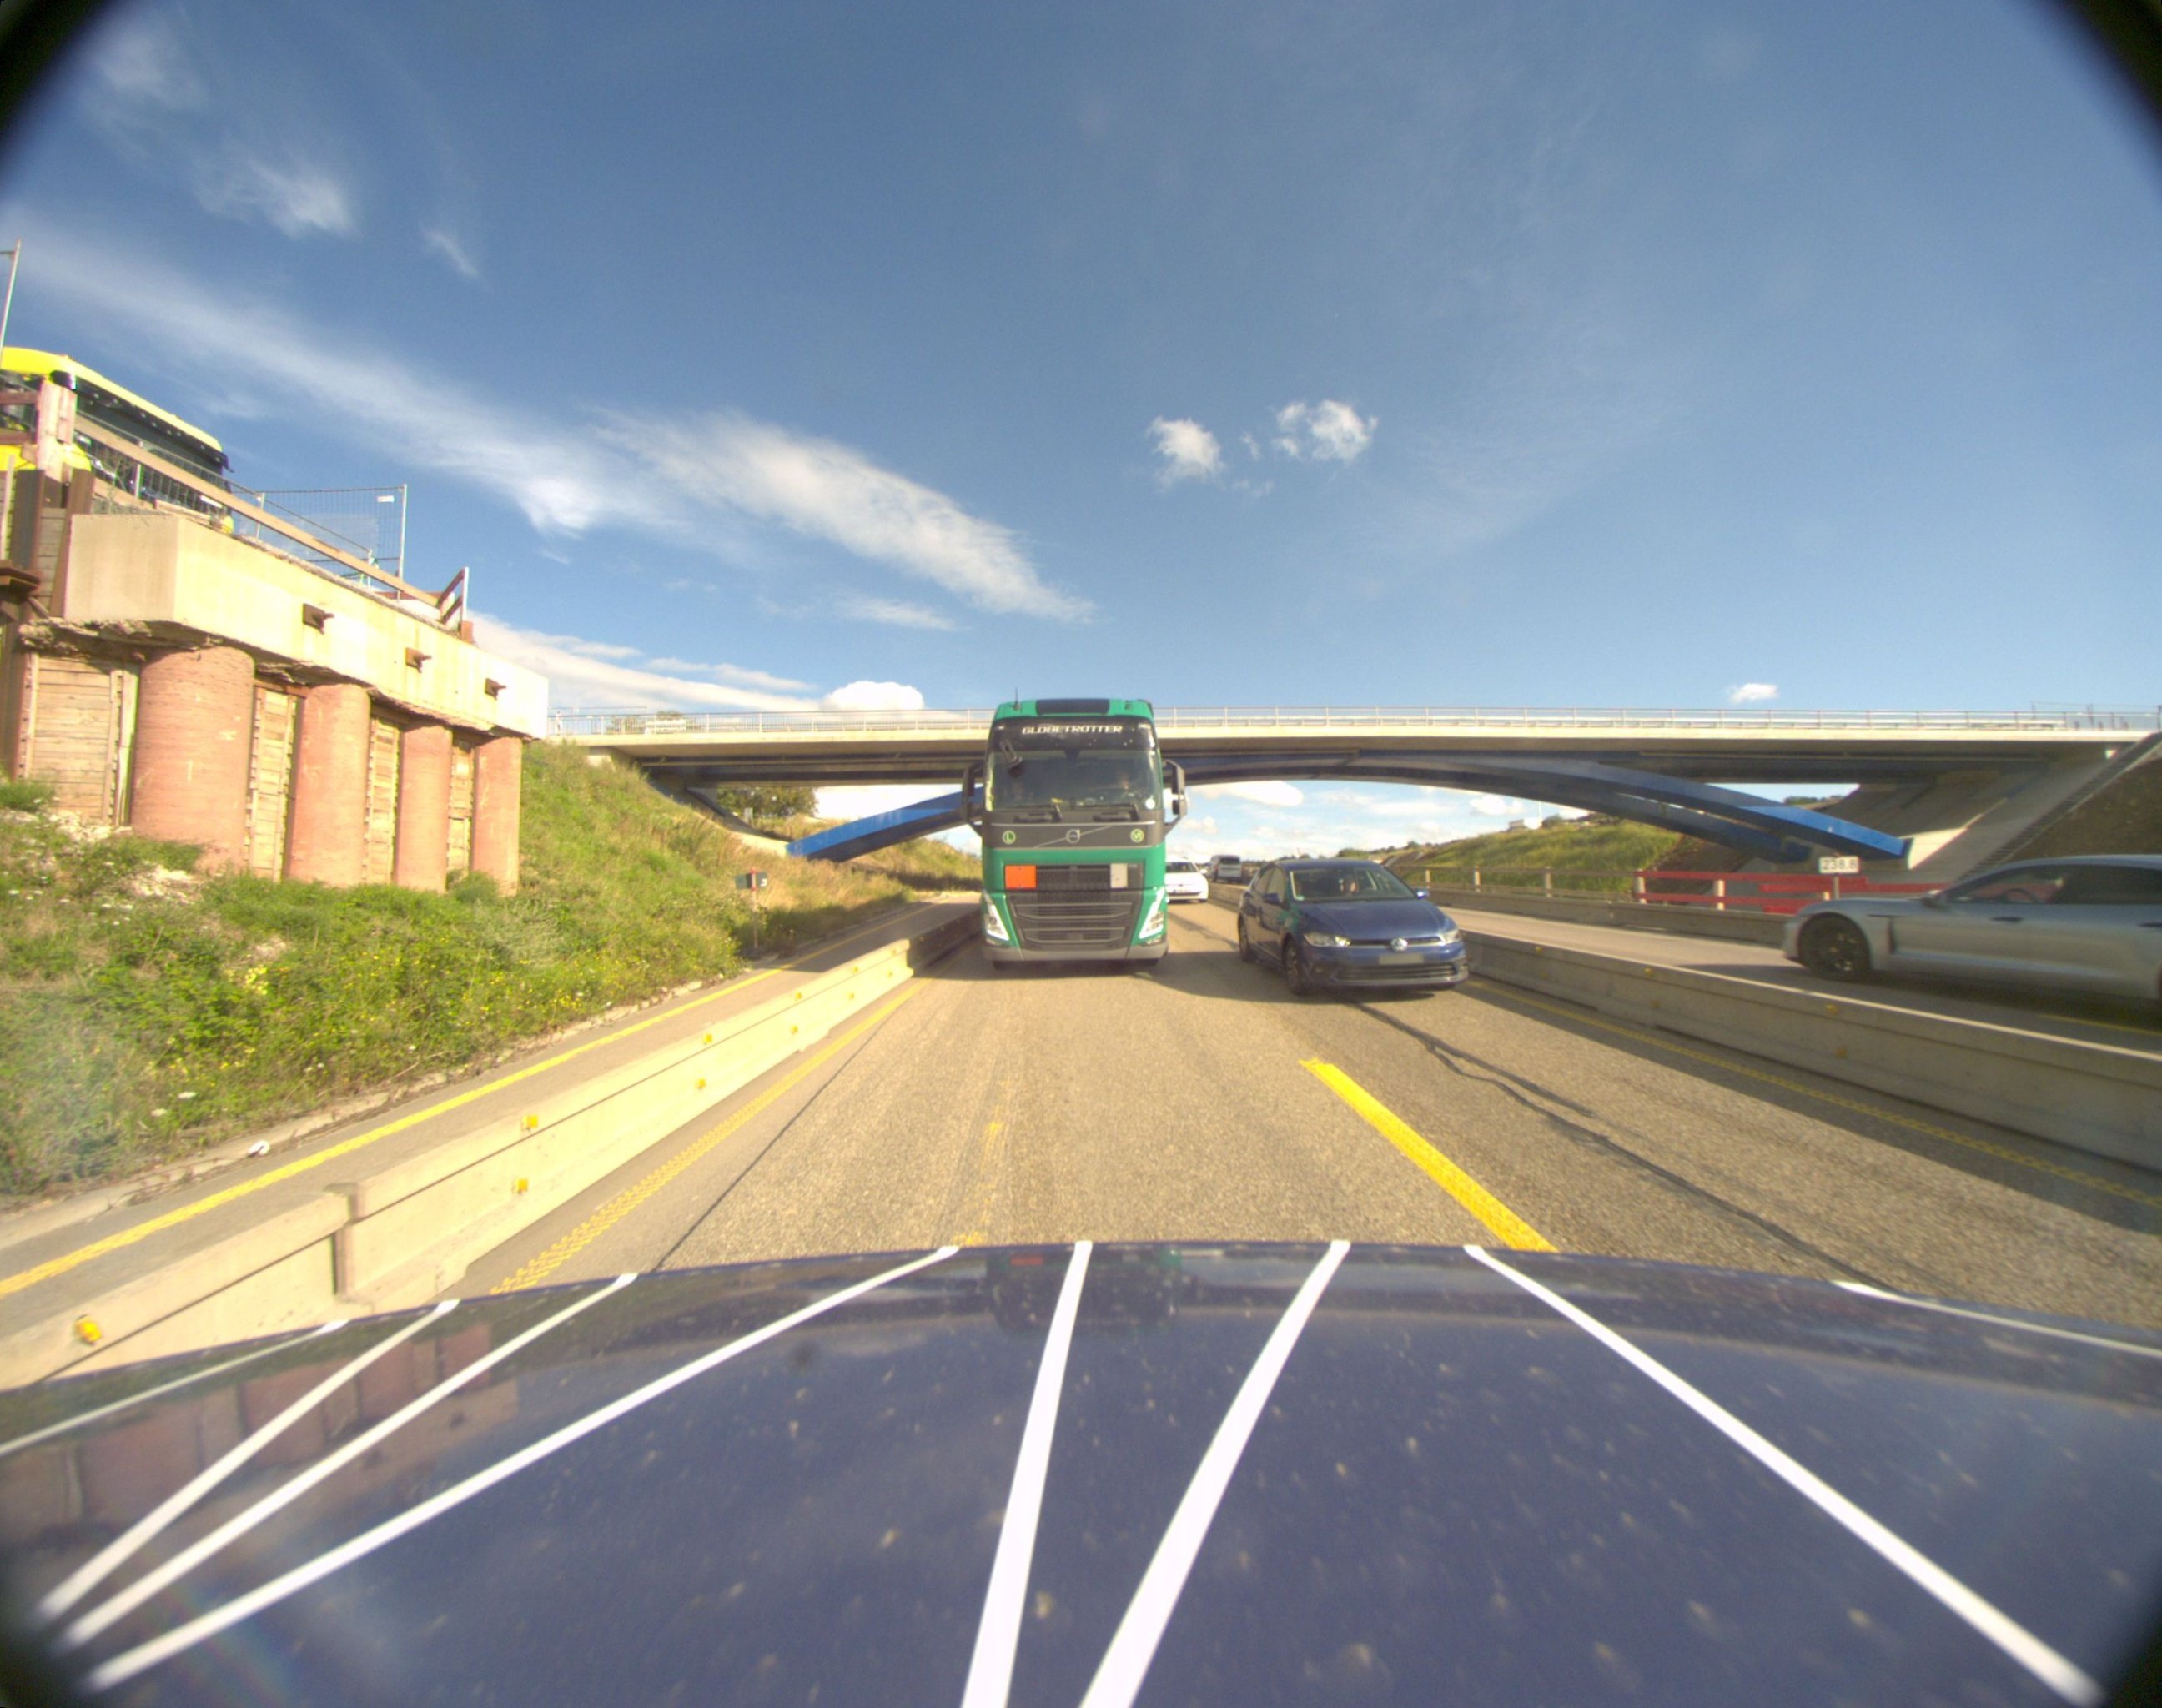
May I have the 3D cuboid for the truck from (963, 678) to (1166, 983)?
[{"bbox_3d":[-0.182,-0.305,13.974,2.546,3.899,8.279,-1,0,0],"label":"truck"}]

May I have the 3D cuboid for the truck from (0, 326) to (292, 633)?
[{"bbox_3d":[-18.410,-5.433,11.633,9.288,3.209,2.959,-1,0,-2],"label":"truck"}]

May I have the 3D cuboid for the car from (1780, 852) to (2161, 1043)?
[{"bbox_3d":[8.942,0.716,6.422,1.738,1.417,4.627,1,0,0],"label":"car"}]

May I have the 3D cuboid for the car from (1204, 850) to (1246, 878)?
[{"bbox_3d":[9.115,0.642,48.274,1.738,1.649,4.217,1,0,-1],"label":"car"}]

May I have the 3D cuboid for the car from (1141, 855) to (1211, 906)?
[{"bbox_3d":[3.086,0.830,25.582,1.825,1.487,4.374,-2,0,1],"label":"car"}]

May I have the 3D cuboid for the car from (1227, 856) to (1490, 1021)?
[{"bbox_3d":[3.020,0.807,9.203,1.719,1.499,4.000,-2,0,1],"label":"car"}]

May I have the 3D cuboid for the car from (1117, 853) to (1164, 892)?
[{"bbox_3d":[2.773,0.824,36.045,1.855,1.667,4.260,-2,0,0],"label":"car"}]
